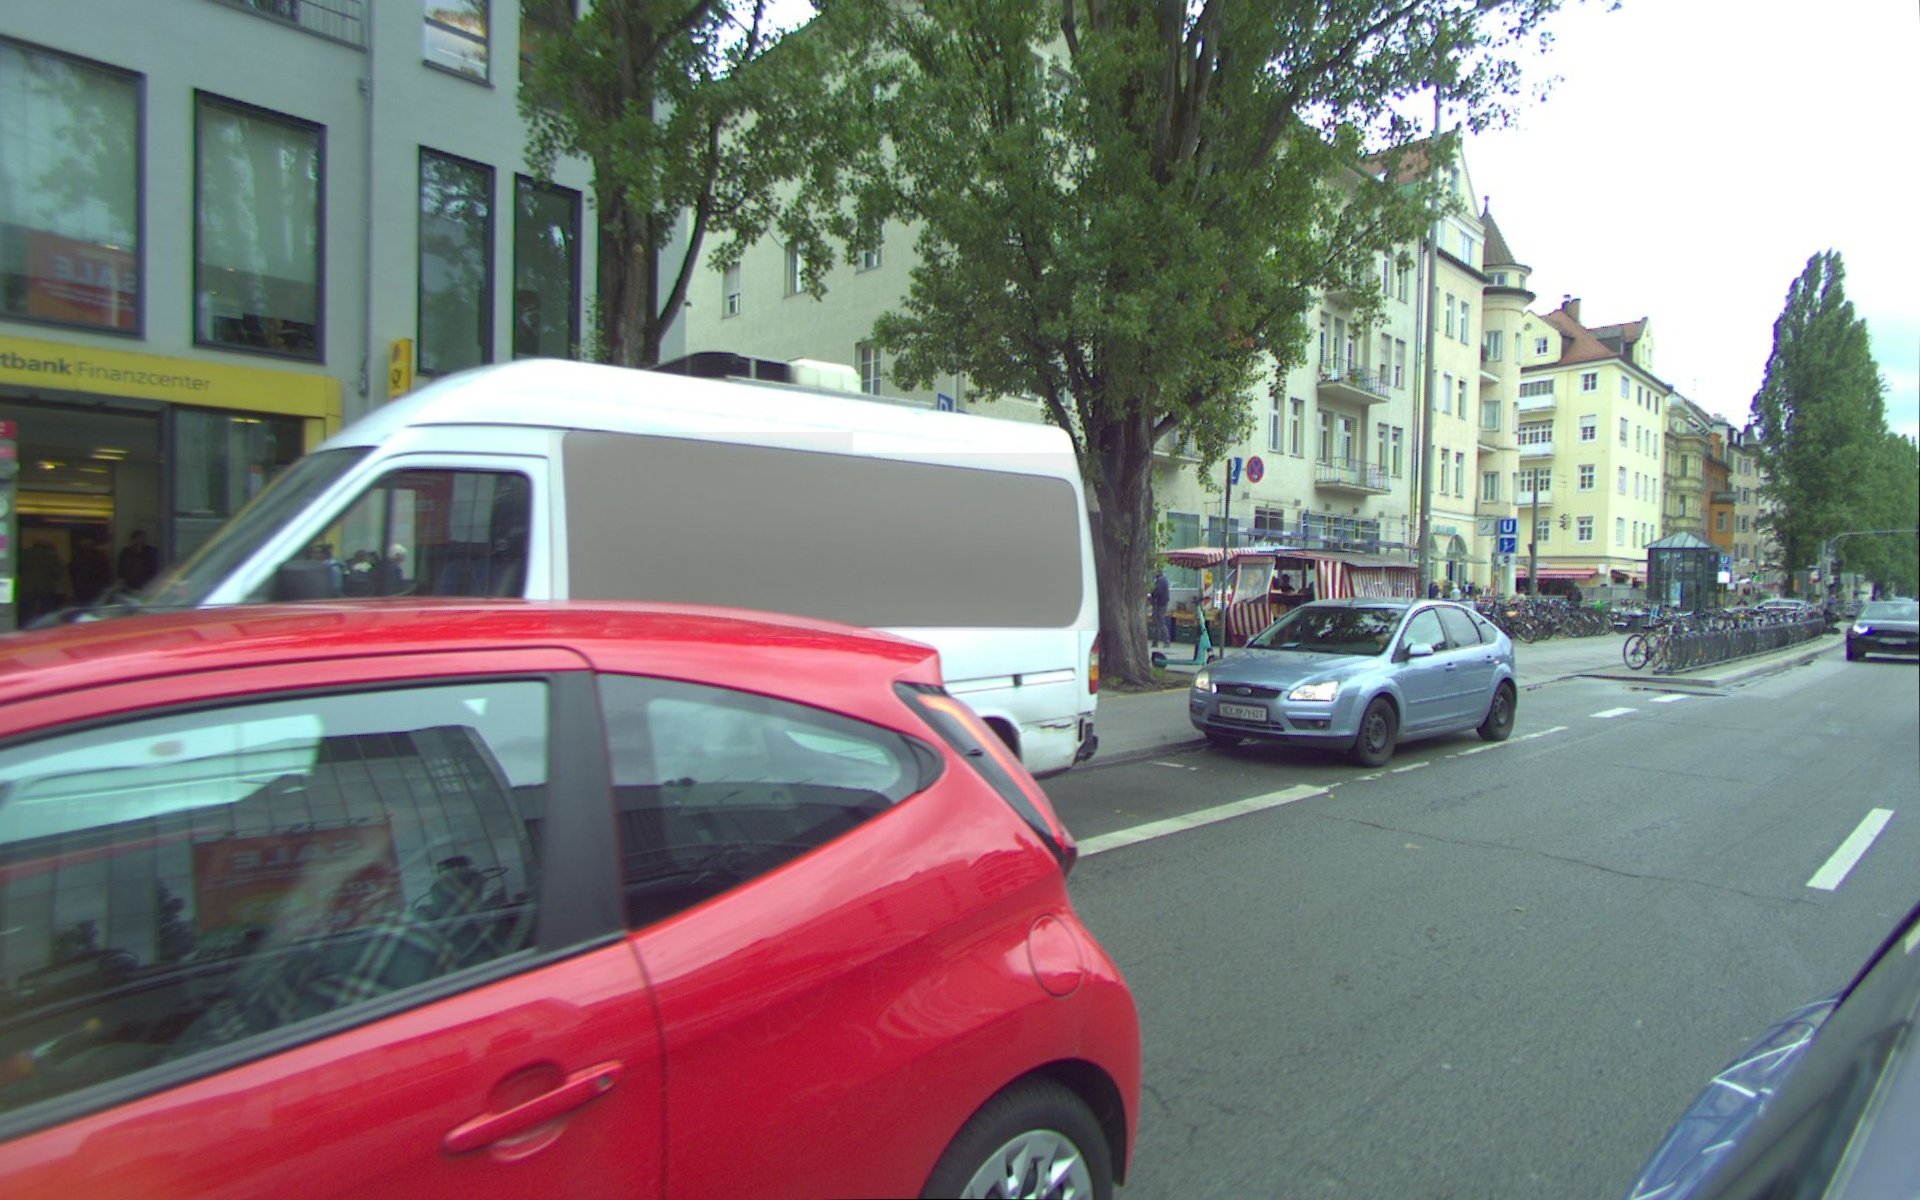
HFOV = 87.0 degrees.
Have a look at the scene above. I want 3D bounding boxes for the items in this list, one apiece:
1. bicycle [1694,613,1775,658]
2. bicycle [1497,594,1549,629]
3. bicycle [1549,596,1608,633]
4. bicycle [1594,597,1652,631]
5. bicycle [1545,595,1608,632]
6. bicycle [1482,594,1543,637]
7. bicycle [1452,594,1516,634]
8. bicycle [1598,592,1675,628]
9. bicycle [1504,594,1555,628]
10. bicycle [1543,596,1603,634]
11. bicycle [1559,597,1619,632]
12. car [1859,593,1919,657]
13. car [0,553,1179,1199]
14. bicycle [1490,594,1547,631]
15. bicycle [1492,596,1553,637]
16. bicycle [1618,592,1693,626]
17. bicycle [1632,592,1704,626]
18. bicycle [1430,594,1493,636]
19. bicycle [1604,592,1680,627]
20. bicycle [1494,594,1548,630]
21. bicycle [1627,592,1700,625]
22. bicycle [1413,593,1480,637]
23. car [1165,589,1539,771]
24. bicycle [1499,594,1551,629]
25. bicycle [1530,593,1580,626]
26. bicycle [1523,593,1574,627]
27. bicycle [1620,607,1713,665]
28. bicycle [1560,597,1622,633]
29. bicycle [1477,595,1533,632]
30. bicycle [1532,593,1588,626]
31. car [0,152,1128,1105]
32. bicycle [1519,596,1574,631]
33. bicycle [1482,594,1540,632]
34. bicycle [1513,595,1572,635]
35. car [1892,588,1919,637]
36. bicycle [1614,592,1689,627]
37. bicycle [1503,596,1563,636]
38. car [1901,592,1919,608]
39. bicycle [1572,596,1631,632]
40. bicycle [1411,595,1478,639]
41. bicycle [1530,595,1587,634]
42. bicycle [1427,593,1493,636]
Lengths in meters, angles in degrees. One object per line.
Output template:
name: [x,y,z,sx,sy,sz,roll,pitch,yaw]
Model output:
bicycle: [18.320,0.835,23.990,0.378,1.024,1.803,0,-2,-5]
bicycle: [18.706,0.376,33.642,1.446,1.091,0.404,4,3,39]
bicycle: [19.899,0.466,32.571,0.403,1.091,1.526,0,3,-44]
bicycle: [22.984,0.479,35.065,1.727,1.091,0.410,2,2,-3]
bicycle: [20.180,0.431,33.145,0.403,1.091,1.659,0,3,-44]
bicycle: [15.371,0.426,28.200,0.402,1.091,1.477,1,2,-28]
bicycle: [15.826,0.406,30.578,1.625,1.116,0.405,4,3,38]
bicycle: [25.839,0.368,38.700,0.617,1.242,2.367,0,2,-40]
bicycle: [19.407,0.361,34.490,1.446,1.091,0.404,4,3,39]
bicycle: [19.470,0.474,32.182,0.403,1.091,1.537,0,3,-44]
bicycle: [21.091,0.471,33.957,0.403,1.091,1.622,0,3,-44]
car: [23.921,0.593,25.465,1.736,1.488,3.985,2,1,44]
car: [-1.467,0.684,1.415,3.532,1.464,1.668,-1,1,-40]
bicycle: [17.999,0.394,32.646,1.529,1.091,0.404,4,3,39]
bicycle: [16.364,0.461,29.476,0.403,1.091,1.483,0,3,-38]
bicycle: [27.592,0.339,40.178,0.617,1.242,2.342,0,2,-40]
bicycle: [28.967,0.352,41.420,0.617,1.242,2.317,0,2,-40]
bicycle: [14.593,0.427,29.479,0.402,1.116,1.635,0,3,-34]
bicycle: [26.353,0.359,39.127,0.617,1.242,2.342,0,2,-40]
bicycle: [18.383,0.385,33.180,1.446,1.091,0.404,4,3,39]
bicycle: [28.416,0.325,40.922,0.617,1.242,2.329,0,2,-40]
bicycle: [13.721,0.410,28.578,0.403,1.116,1.632,0,3,-41]
car: [4.043,0.645,10.149,4.073,1.472,1.729,0,0,-39]
bicycle: [19.055,0.367,34.155,1.446,1.091,0.404,4,3,39]
bicycle: [21.222,0.330,36.112,1.448,1.091,0.404,4,3,42]
bicycle: [20.546,0.344,35.366,1.448,1.091,0.404,4,3,42]
bicycle: [13.409,0.686,19.267,0.536,1.068,1.577,0,-2,-5]
bicycle: [20.732,0.483,33.280,0.403,1.091,1.639,0,3,-38]
bicycle: [17.132,0.410,31.832,1.446,1.091,0.404,4,3,39]
bicycle: [21.664,0.322,36.550,0.403,1.091,1.650,0,3,-40]
car: [-1.619,0.041,5.349,5.459,2.776,1.996,-1,1,-42]
bicycle: [20.033,0.463,34.601,0.403,1.091,1.527,0,3,-44]
bicycle: [17.560,0.402,32.254,1.529,1.091,0.404,4,3,39]
bicycle: [17.344,0.448,30.145,1.446,1.091,0.404,4,3,39]
car: [36.701,0.427,38.174,3.933,1.772,1.995,-1,1,-43]
bicycle: [26.958,0.352,39.508,0.617,1.242,2.317,0,2,-40]
bicycle: [16.804,0.457,29.687,0.402,1.091,1.453,0,3,-35]
car: [105.390,0.020,111.648,3.933,1.660,1.996,0,2,-43]
bicycle: [21.691,0.465,34.226,0.403,1.091,1.602,0,3,-44]
bicycle: [13.434,0.453,28.079,0.403,1.116,1.634,0,3,-38]
bicycle: [18.275,0.433,30.914,1.446,1.091,0.404,4,3,39]
bicycle: [14.282,0.403,28.963,0.403,1.116,1.632,0,3,-41]
